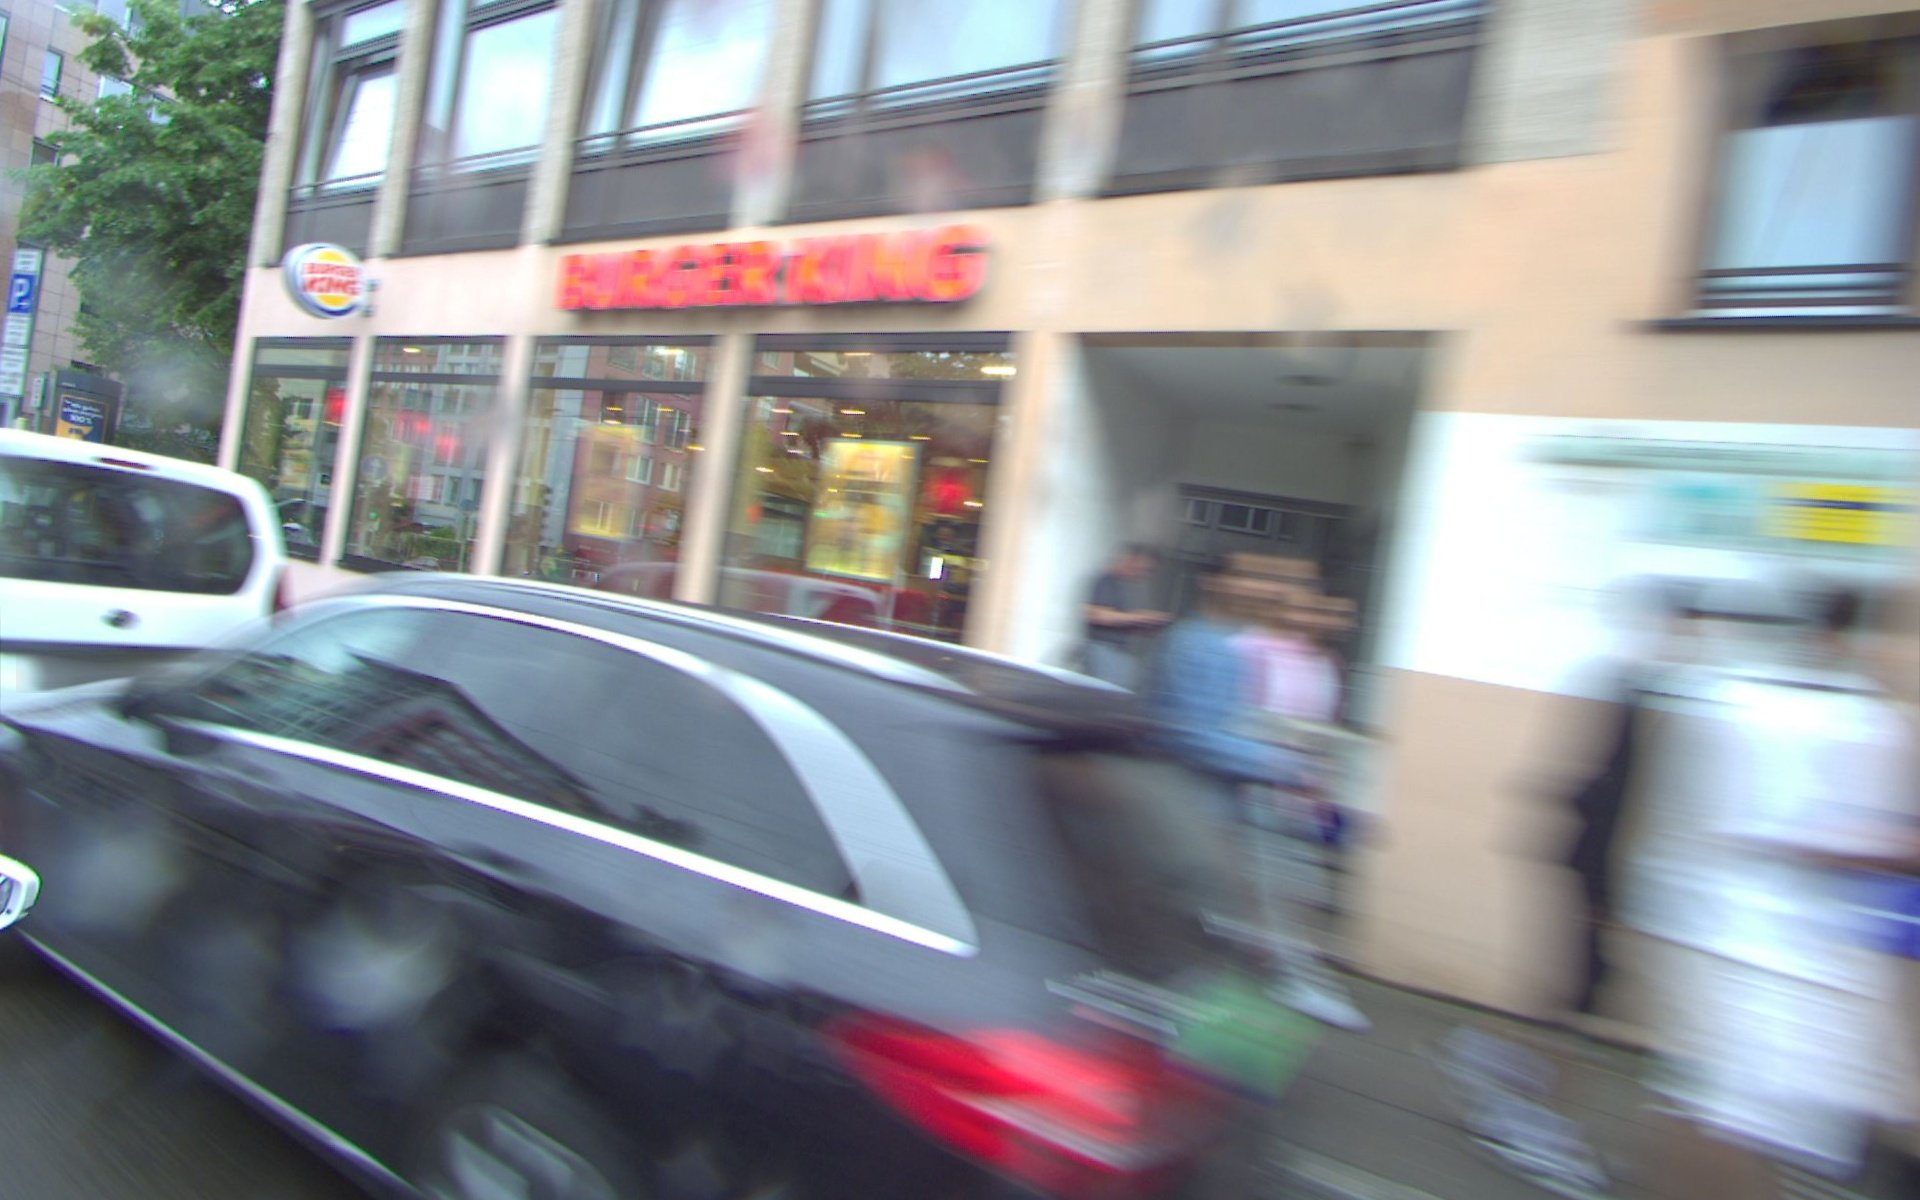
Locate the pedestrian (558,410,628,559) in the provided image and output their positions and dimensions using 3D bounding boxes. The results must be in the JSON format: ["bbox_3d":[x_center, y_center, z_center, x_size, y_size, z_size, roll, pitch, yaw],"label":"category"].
[{"bbox_3d":[-4.877,-1.510,13.400,0.657,1.842,0.594,7,0,-18],"label":"pedestrian"}]

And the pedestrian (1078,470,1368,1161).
[{"bbox_3d":[0.876,0.624,3.280,0.525,1.972,0.652,7,1,33],"label":"pedestrian"}]

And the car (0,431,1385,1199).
[{"bbox_3d":[-1.274,0.529,3.050,4.341,1.635,1.909,7,-1,32],"label":"car"}]

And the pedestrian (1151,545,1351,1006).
[{"bbox_3d":[1.223,0.685,4.196,0.469,1.735,0.576,7,1,33],"label":"pedestrian"}]

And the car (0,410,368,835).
[{"bbox_3d":[-5.887,-0.082,5.952,4.696,1.828,1.910,7,-1,30],"label":"car"}]

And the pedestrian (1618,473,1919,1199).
[{"bbox_3d":[1.926,0.730,2.190,0.642,1.878,0.696,7,1,33],"label":"pedestrian"}]

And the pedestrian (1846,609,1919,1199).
[{"bbox_3d":[2.768,0.848,2.490,0.578,1.841,0.756,7,0,33],"label":"pedestrian"}]

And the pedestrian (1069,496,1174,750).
[{"bbox_3d":[0.988,0.139,6.126,0.366,1.471,0.359,7,1,29],"label":"pedestrian"}]

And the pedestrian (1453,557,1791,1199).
[{"bbox_3d":[1.884,0.793,2.917,0.571,1.735,0.611,7,1,33],"label":"pedestrian"}]

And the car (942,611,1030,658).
[{"bbox_3d":[1.051,1.359,39.283,1.646,1.473,3.666,7,-1,33],"label":"car"}]
